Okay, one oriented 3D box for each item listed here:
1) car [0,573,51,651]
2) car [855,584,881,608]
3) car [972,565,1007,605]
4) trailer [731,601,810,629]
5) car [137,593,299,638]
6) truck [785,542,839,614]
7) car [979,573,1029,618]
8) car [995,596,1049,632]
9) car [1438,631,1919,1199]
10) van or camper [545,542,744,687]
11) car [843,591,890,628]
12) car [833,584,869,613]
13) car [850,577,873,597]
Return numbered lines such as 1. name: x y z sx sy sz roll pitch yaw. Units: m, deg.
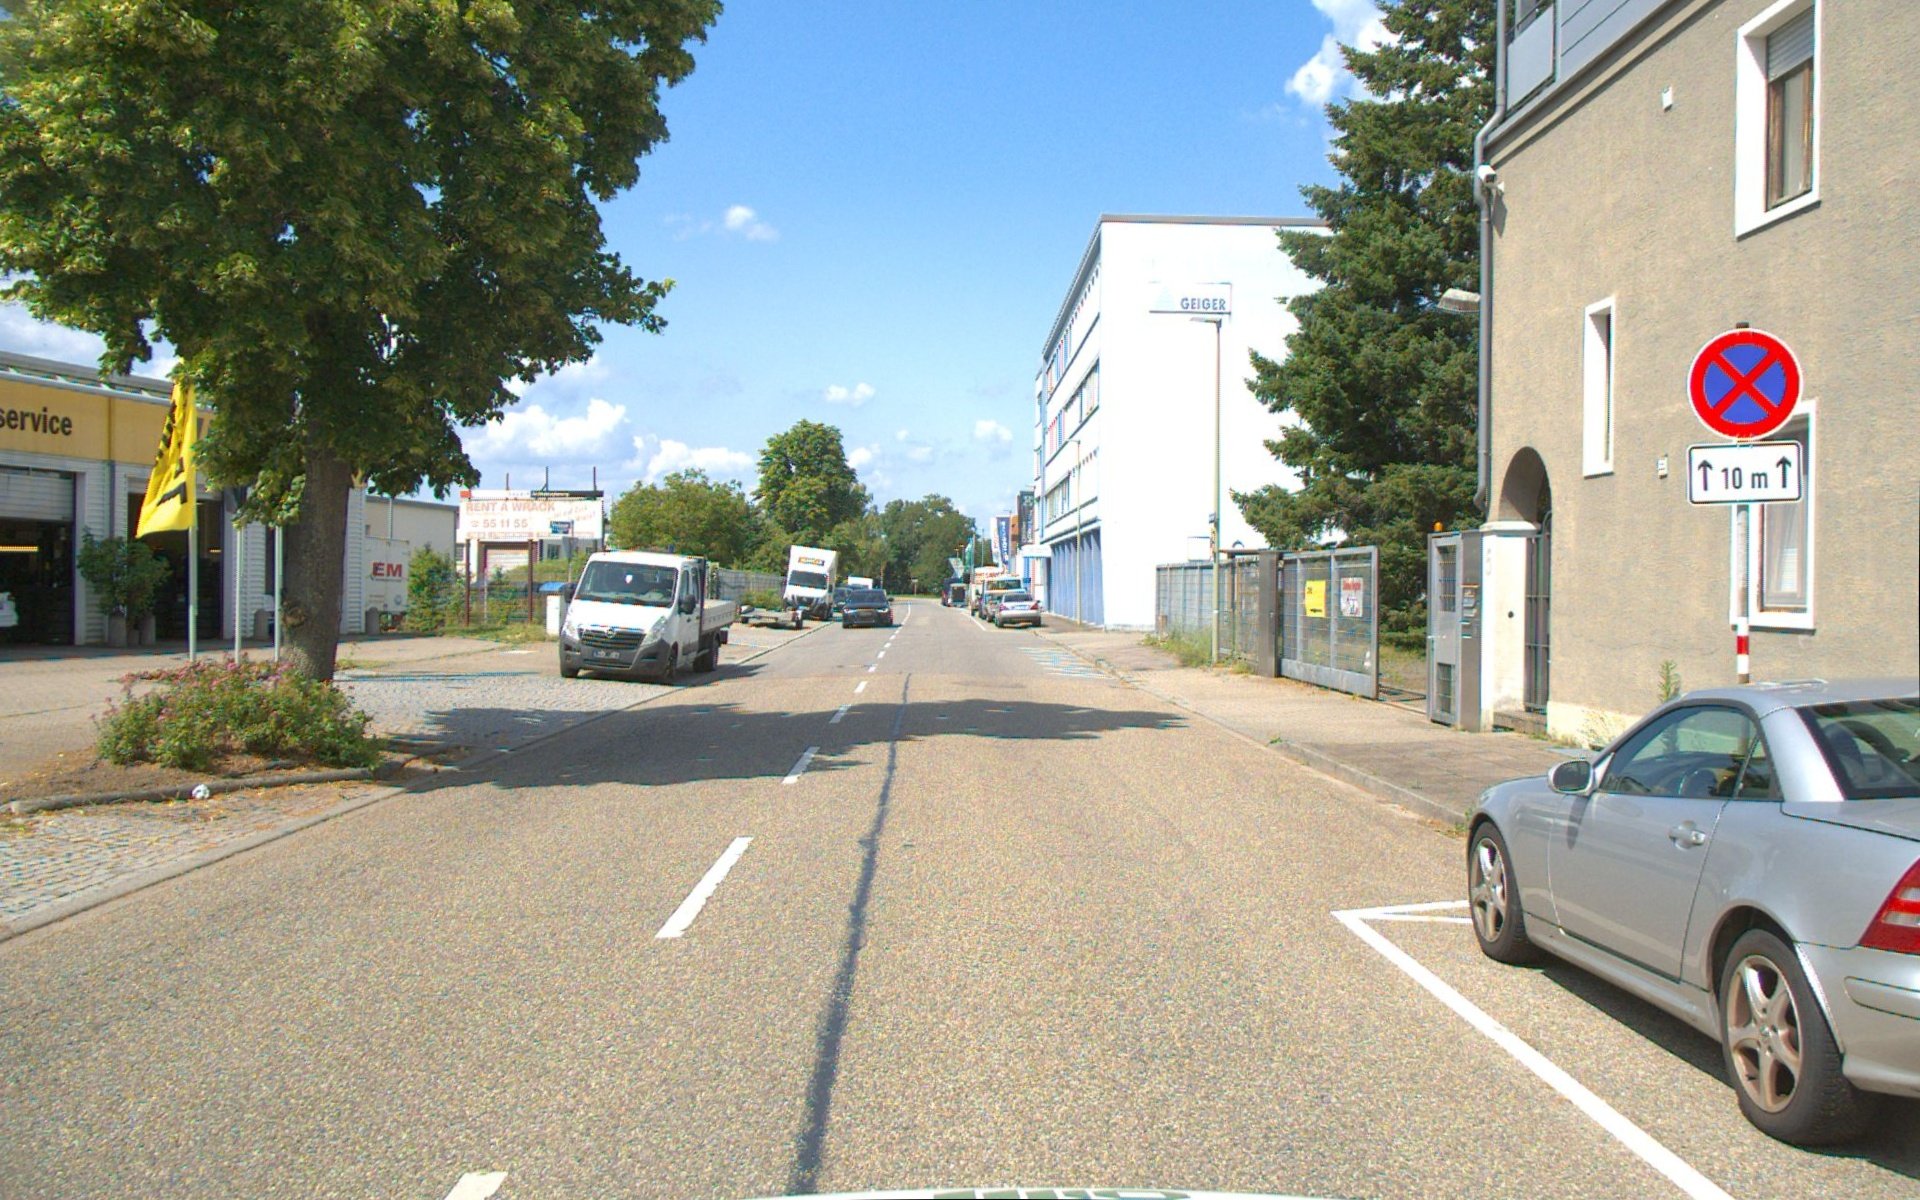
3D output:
1. car: -20.117 0.205 32.652 3.910 1.489 1.987 1 0 27
2. car: -6.570 -0.297 118.689 1.678 1.679 3.999 0 0 -1
3. car: 1.580 -0.813 88.986 1.673 2.126 3.999 0 0 -2
4. trailer: -7.059 0.547 62.288 2.368 0.827 5.536 3 0 -1
5. car: -18.581 0.372 41.422 3.557 1.055 1.543 1 0 17
6. truck: -6.800 -1.004 76.393 1.988 3.209 6.499 0 0 -1
7. car: 2.055 -0.209 78.546 2.171 2.049 5.484 0 0 -1
8. car: 2.383 0.513 64.687 1.889 1.333 3.999 0 0 -1
9. car: 3.135 0.859 5.996 1.596 1.377 3.923 1 0 -1
10. van or camper: -5.916 0.220 32.206 2.128 2.455 7.699 1 0 2
11. car: -3.566 0.331 63.736 1.621 1.348 4.416 0 0 -1
12. car: -6.513 -0.112 99.031 1.953 1.713 3.999 0 0 -1
13. car: -9.158 -1.244 154.678 1.953 1.847 3.999 0 0 -1
